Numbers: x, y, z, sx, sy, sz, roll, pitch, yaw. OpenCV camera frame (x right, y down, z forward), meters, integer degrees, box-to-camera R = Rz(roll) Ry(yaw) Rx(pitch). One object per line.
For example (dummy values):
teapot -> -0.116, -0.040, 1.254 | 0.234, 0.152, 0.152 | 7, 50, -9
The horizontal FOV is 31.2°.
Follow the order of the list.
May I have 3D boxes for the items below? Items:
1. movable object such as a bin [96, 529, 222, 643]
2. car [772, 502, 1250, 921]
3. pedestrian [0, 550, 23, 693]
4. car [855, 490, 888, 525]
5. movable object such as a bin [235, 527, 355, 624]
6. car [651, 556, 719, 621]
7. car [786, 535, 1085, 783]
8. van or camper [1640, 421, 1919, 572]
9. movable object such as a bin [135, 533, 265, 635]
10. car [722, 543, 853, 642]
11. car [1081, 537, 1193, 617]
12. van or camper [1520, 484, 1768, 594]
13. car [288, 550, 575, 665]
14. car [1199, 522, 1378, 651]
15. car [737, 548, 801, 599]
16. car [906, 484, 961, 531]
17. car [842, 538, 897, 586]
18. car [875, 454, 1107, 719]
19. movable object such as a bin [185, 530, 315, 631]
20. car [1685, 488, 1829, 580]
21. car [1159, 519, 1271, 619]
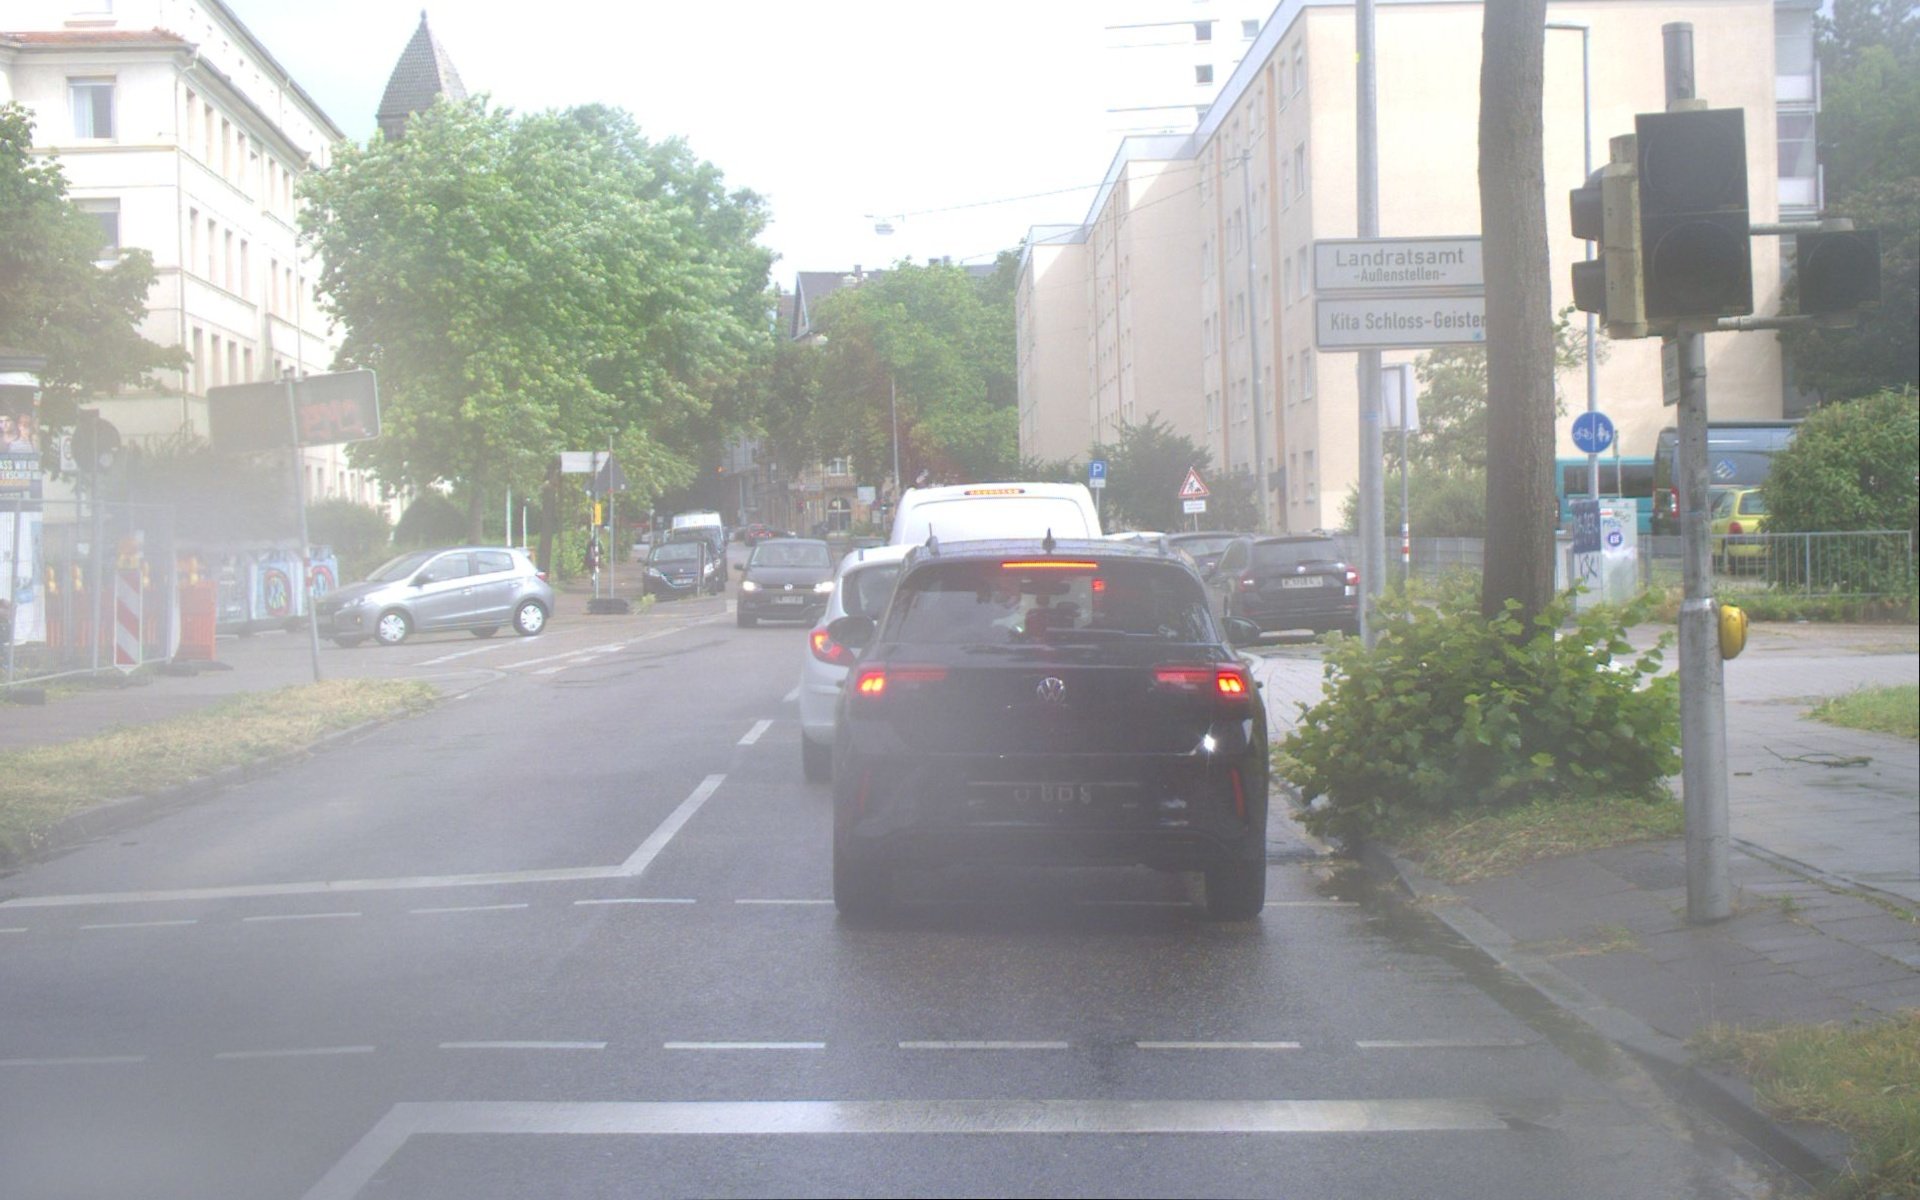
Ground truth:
movable object such as a bin -> -13.373, -0.242, 57.411 | 1.539, 1.818, 1.262 | -2, 2, 19
car -> 0.191, 0.418, 15.573 | 1.873, 1.640, 4.062 | 0, 1, 0
pedestrian -> -11.235, 0.241, 39.458 | 0.721, 1.624, 0.684 | 0, 0, -37
car -> -4.870, -5.045, 188.307 | 1.665, 1.831, 4.001 | -2, 1, -2
movable object such as a bin -> -11.989, -0.444, 62.021 | 1.539, 1.656, 1.457 | -2, 2, 19
car -> -6.900, -0.304, 86.179 | 1.585, 1.500, 4.065 | -3, 1, -5
car -> -0.155, 0.343, 22.976 | 1.813, 1.498, 4.000 | 0, 0, 0
van or camper -> 14.848, -1.831, 61.304 | 4.998, 2.546, 2.175 | -1, 0, 1
movable object such as a bin -> -13.023, -0.283, 58.949 | 1.539, 1.650, 1.526 | -2, 2, 19
car -> -2.775, -0.134, 56.108 | 1.813, 1.535, 3.982 | -1, 0, 2
car -> 3.518, -0.481, 68.887 | 1.748, 1.503, 4.113 | -1, 1, -4
van or camper -> 14.192, -1.283, 71.537 | 4.760, 2.124, 2.321 | -1, 2, 4
car -> -8.256, 0.082, 53.810 | 3.987, 1.631, 1.895 | -2, 2, -31
car -> 4.357, -0.221, 46.172 | 1.774, 1.534, 4.379 | -4, 1, -2
car -> -6.614, -0.931, 119.426 | 1.841, 1.602, 4.000 | -3, 1, 1
car -> -0.957, -3.376, 125.518 | 1.841, 1.602, 3.675 | -3, 1, 1
car -> -3.218, -1.384, 123.459 | 1.740, 1.602, 3.675 | -3, 1, 1
car -> 0.306, -0.125, 29.366 | 1.836, 2.095, 4.000 | 0, 0, 2
movable object such as a bin -> -12.491, -0.353, 60.508 | 1.539, 1.668, 1.664 | -2, 2, 19
car -> 13.312, -1.114, 57.566 | 1.610, 1.444, 3.417 | -2, 1, 1
car -> 4.244, -0.494, 57.574 | 1.757, 1.522, 3.999 | 2, -1, 4
